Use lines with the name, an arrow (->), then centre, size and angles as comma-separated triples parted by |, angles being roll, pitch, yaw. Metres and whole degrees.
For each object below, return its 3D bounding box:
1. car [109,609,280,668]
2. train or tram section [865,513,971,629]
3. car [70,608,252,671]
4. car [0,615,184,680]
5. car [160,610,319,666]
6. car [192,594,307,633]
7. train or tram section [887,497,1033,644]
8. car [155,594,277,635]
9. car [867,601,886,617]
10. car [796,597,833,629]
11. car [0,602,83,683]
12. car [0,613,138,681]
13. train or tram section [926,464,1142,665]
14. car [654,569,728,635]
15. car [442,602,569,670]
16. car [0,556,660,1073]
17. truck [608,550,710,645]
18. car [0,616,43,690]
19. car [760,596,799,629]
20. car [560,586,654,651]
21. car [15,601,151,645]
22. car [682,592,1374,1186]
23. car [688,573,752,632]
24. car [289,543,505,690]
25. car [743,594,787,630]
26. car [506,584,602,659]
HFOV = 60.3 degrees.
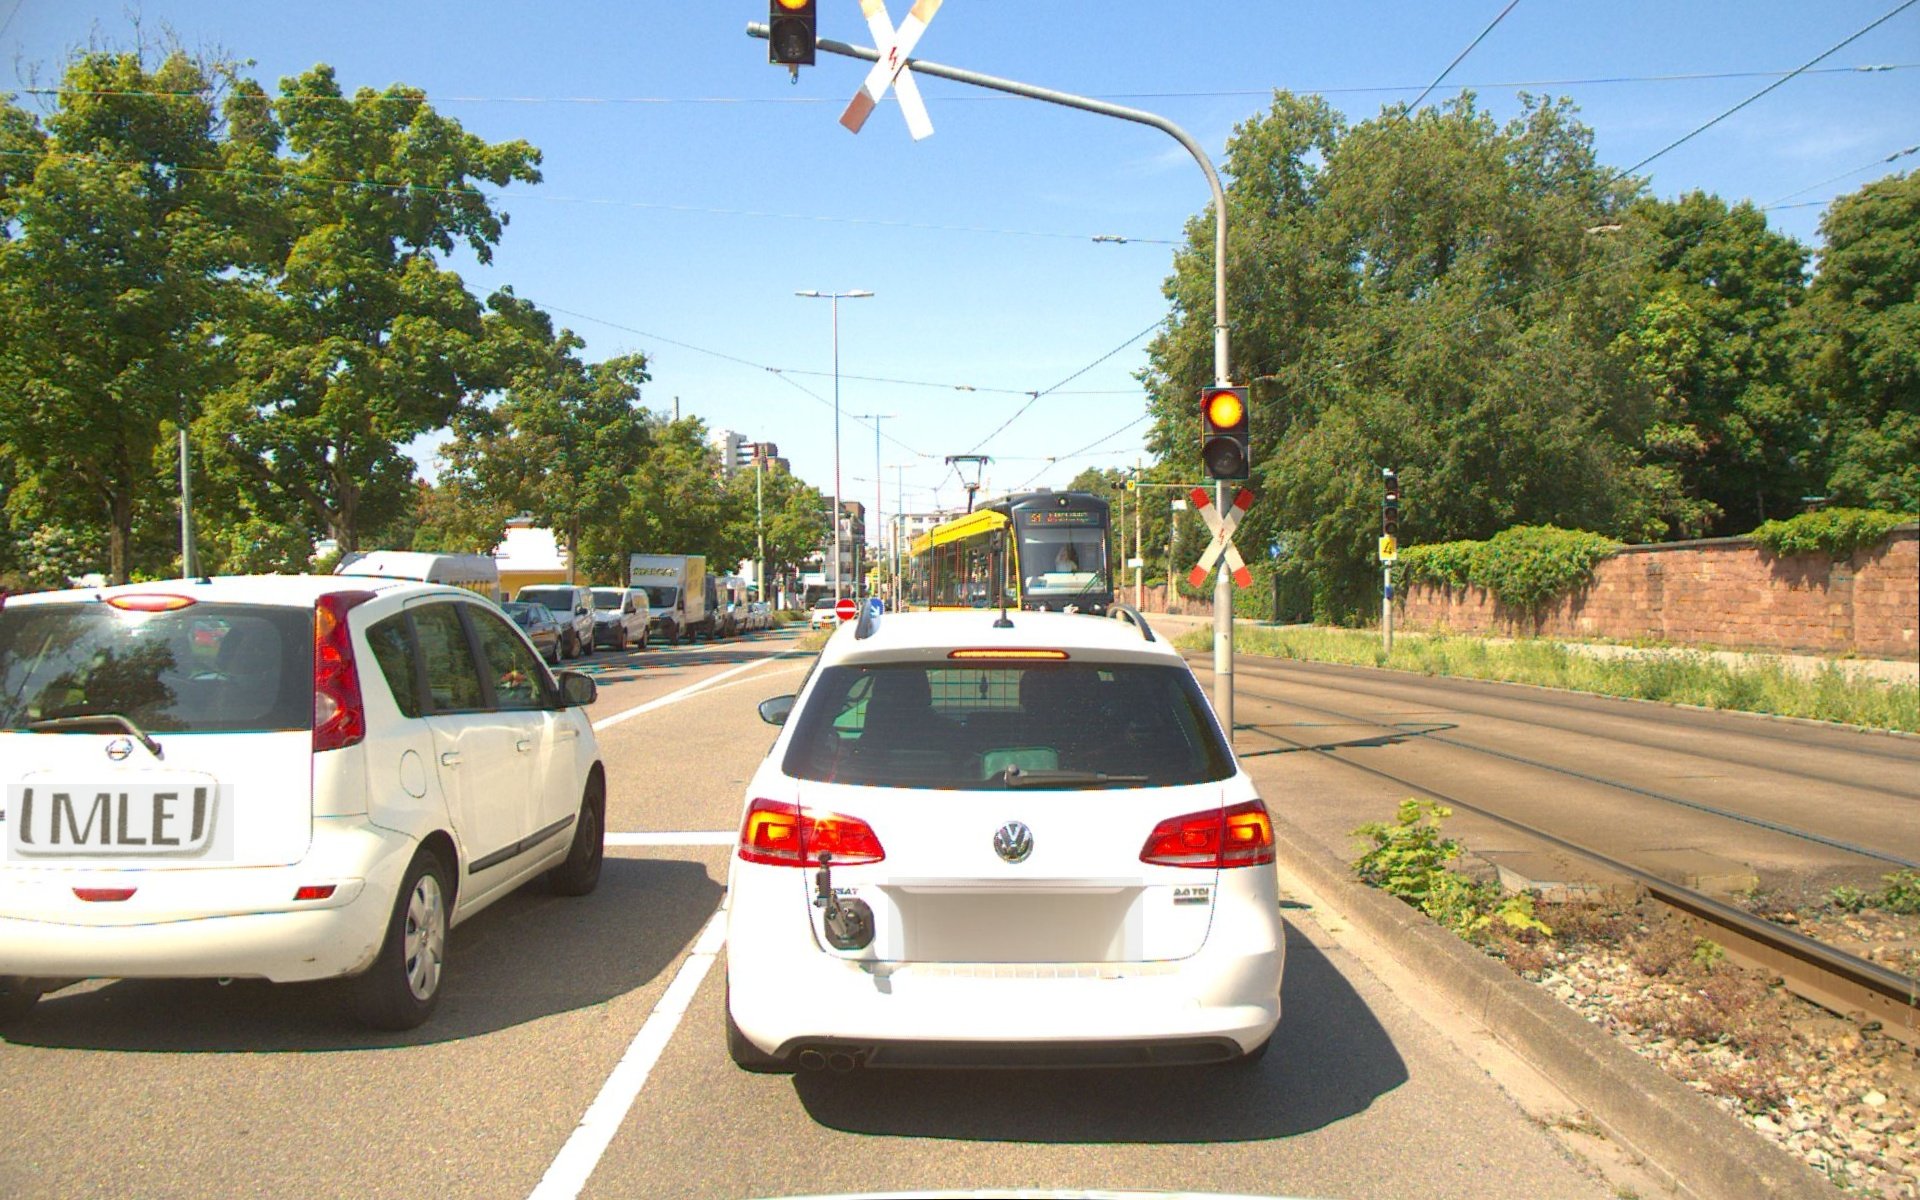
car -> -21.284, 1.059, 46.113 | 3.909, 1.440, 1.728 | -2, 0, -5
train or tram section -> -1.749, -1.023, 62.375 | 2.817, 3.923, 10.519 | -1, 0, -8
car -> -21.106, 1.026, 43.785 | 3.909, 1.440, 1.728 | -2, 0, -5
car -> -21.727, 1.168, 41.223 | 3.909, 1.440, 1.728 | -2, 0, -5
car -> -21.272, 1.104, 48.931 | 3.909, 1.440, 1.728 | -2, 0, -5
car -> -34.890, 0.681, 81.303 | 4.698, 1.819, 2.062 | 1, 0, -5
train or tram section -> -0.265, -0.823, 50.998 | 2.817, 3.923, 12.369 | -1, 0, -8
car -> -34.368, 0.670, 76.488 | 4.698, 1.819, 2.062 | 1, 0, -5
car -> -8.720, 0.926, 173.381 | 1.670, 1.499, 4.589 | -1, 0, 0
car -> -7.717, 0.677, 88.043 | 1.642, 1.580, 3.579 | -3, 0, -1
car -> -21.073, 0.963, 35.120 | 3.909, 1.638, 1.728 | -2, 0, -5
car -> -21.609, 1.116, 38.590 | 3.909, 1.440, 1.728 | -2, 0, -5
train or tram section -> 1.352, -0.727, 38.846 | 2.817, 3.923, 12.369 | -1, 0, -8
car -> -11.003, 0.067, 68.148 | 2.079, 2.560, 5.733 | 1, 0, 0
car -> -10.534, 0.803, 38.606 | 1.826, 1.440, 4.278 | 1, 0, -1
car -> -2.560, 0.642, 7.310 | 1.628, 1.575, 4.546 | 0, 0, 0
truck -> -10.849, -0.108, 60.151 | 2.371, 3.205, 6.996 | 1, 0, 0
car -> -20.729, 1.123, 32.926 | 3.909, 1.440, 1.728 | -2, 0, -5
car -> -10.699, 0.716, 98.426 | 1.826, 1.900, 5.412 | 1, 0, -1
car -> -10.961, 0.530, 51.725 | 1.826, 1.900, 5.412 | 1, 0, -1
car -> -37.806, 0.985, 71.380 | 4.698, 1.819, 2.062 | 1, 0, -5
car -> 0.147, 0.718, 6.188 | 1.726, 1.455, 3.999 | -1, 0, -1
car -> -10.905, 0.103, 75.585 | 2.079, 2.560, 5.733 | 1, 0, 0
car -> -10.742, 0.276, 32.130 | 2.079, 2.560, 5.817 | 1, 0, 1
car -> -10.752, 0.631, 91.509 | 1.826, 1.900, 5.412 | 1, 0, -1
car -> -11.012, 0.532, 45.137 | 1.827, 1.900, 5.068 | 1, 0, -6
